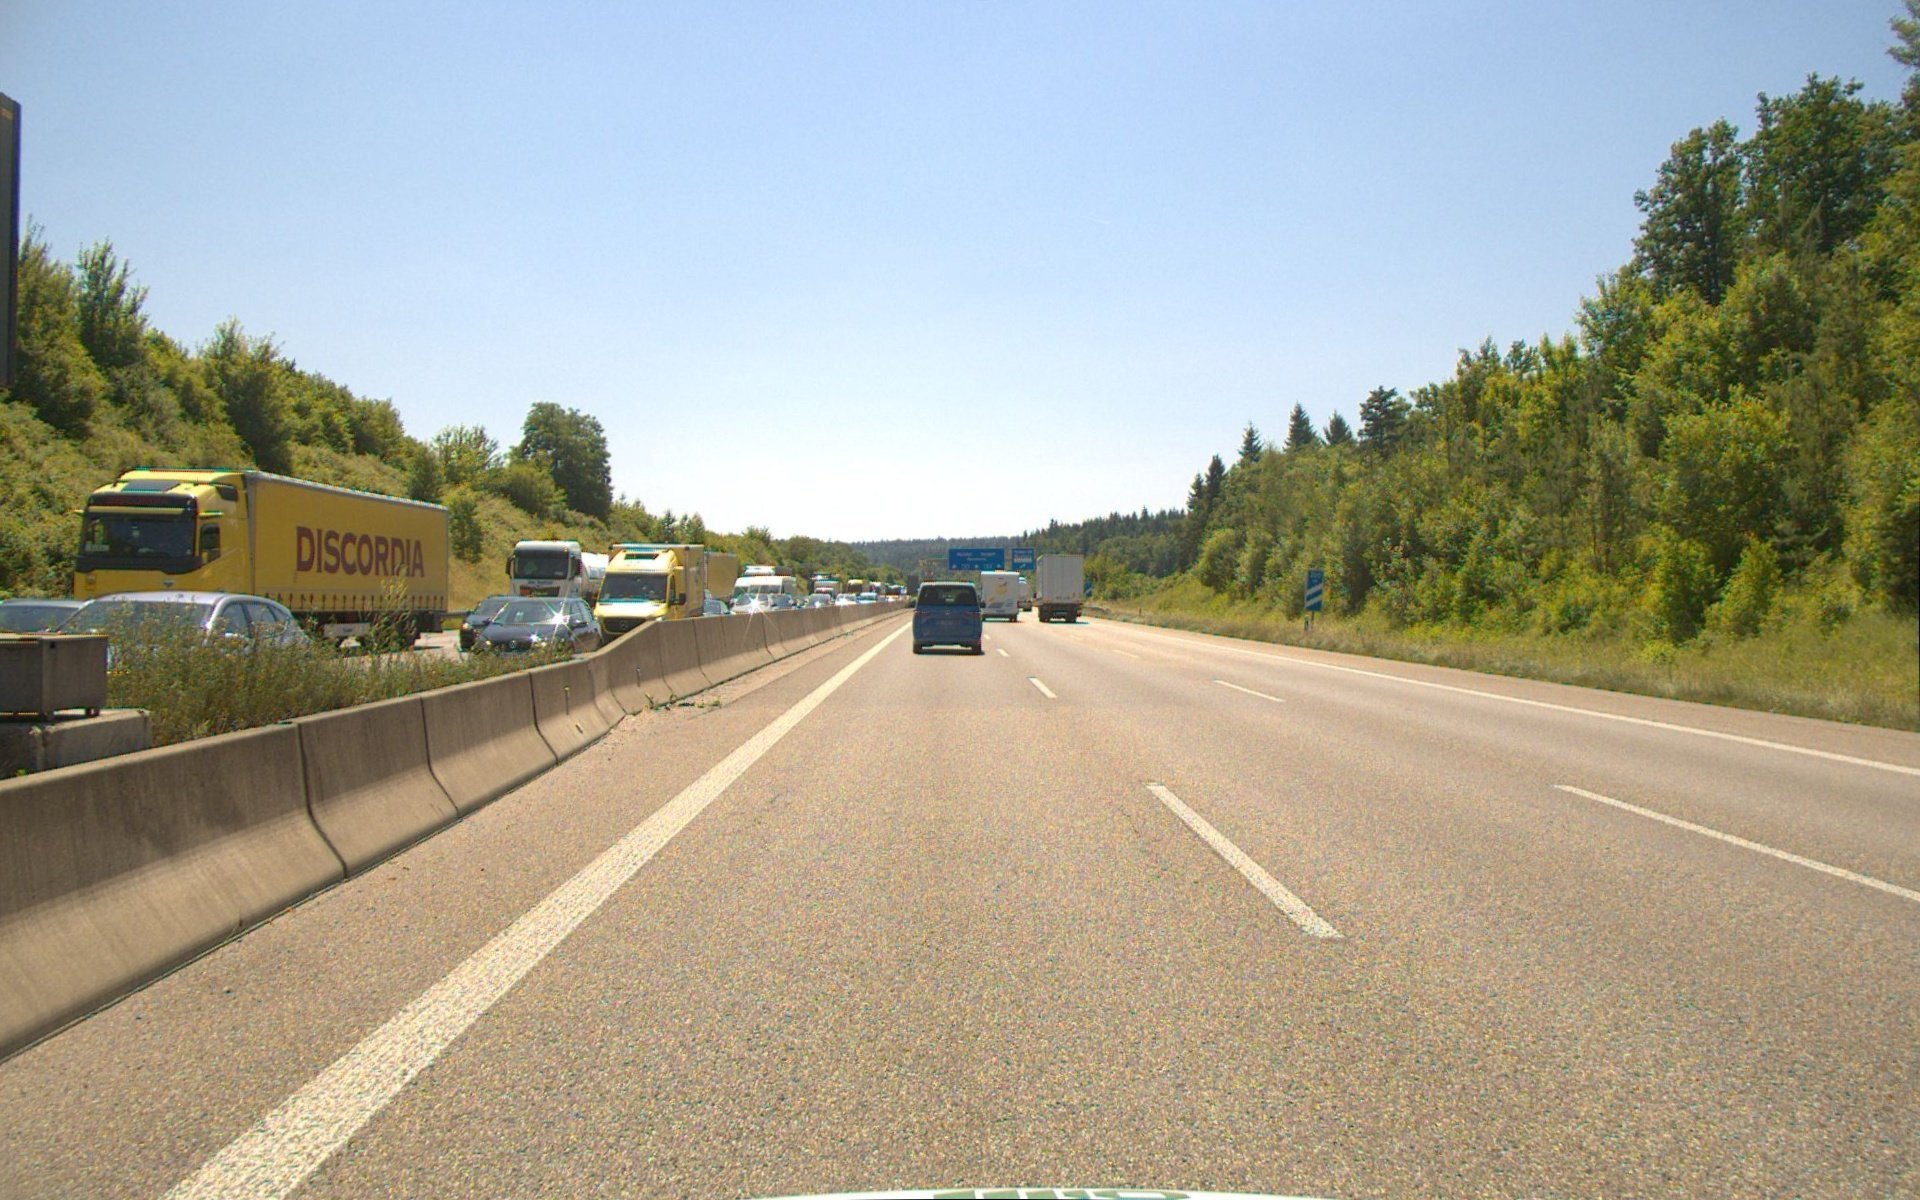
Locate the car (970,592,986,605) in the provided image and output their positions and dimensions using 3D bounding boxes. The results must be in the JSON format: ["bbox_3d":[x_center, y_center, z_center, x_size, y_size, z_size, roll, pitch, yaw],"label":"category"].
[{"bbox_3d":[2.023,-0.178,185.902,1.744,1.512,3.999,0,0,-1],"label":"car"}]

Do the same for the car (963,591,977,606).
[{"bbox_3d":[1.281,-0.175,209.979,1.740,1.803,3.999,0,0,-1],"label":"car"}]

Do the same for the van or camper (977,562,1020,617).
[{"bbox_3d":[2.388,-0.718,103.827,2.549,3.131,7.184,1,3,0],"label":"van or camper"}]

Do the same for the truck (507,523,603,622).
[{"bbox_3d":[-16.402,-1.050,67.307,2.625,3.809,5.869,1,0,-3],"label":"truck"}]

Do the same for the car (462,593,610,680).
[{"bbox_3d":[-8.019,0.661,31.702,1.791,1.523,4.756,1,0,-3],"label":"car"}]

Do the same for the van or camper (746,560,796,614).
[{"bbox_3d":[-10.417,-0.666,91.639,2.206,2.824,7.213,1,0,-3],"label":"van or camper"}]

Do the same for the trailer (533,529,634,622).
[{"bbox_3d":[-16.628,-1.072,73.804,2.558,3.798,10.676,1,0,-3],"label":"trailer"}]

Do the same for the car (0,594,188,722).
[{"bbox_3d":[-12.203,0.693,21.979,1.791,1.523,4.756,1,0,-3],"label":"car"}]

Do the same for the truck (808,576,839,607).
[{"bbox_3d":[-13.336,-0.789,162.058,2.516,2.895,6.750,1,0,-1],"label":"truck"}]

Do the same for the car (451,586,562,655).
[{"bbox_3d":[-12.538,0.562,46.042,1.791,1.795,4.989,1,0,-1],"label":"car"}]

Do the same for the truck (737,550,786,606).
[{"bbox_3d":[-16.880,-1.824,141.193,2.881,4.595,8.605,1,0,1],"label":"truck"}]

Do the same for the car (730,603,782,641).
[{"bbox_3d":[-8.520,0.906,69.371,1.791,1.523,4.756,1,0,-3],"label":"car"}]

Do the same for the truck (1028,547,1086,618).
[{"bbox_3d":[6.019,-1.006,104.042,2.727,4.201,9.736,1,0,-2],"label":"truck"}]

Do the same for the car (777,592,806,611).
[{"bbox_3d":[-13.262,0.093,130.544,1.790,1.519,4.990,0,0,-1],"label":"car"}]

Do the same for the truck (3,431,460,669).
[{"bbox_3d":[-16.610,-0.902,40.455,3.621,4.534,17.377,1,0,-1],"label":"truck"}]

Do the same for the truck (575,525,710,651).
[{"bbox_3d":[-8.343,-0.278,44.166,2.221,3.069,6.777,1,0,0],"label":"truck"}]

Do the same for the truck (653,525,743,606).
[{"bbox_3d":[-16.109,-1.939,103.155,3.622,4.534,16.666,1,0,-2],"label":"truck"}]

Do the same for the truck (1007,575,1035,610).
[{"bbox_3d":[6.576,-0.841,179.146,2.867,3.637,8.527,-1,1,1],"label":"truck"}]

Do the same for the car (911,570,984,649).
[{"bbox_3d":[-0.359,0.249,45.235,1.870,2.049,3.999,1,0,-1],"label":"car"}]

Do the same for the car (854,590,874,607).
[{"bbox_3d":[-9.356,-0.175,161.931,1.791,1.592,5.109,1,0,-1],"label":"car"}]

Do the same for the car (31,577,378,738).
[{"bbox_3d":[-8.070,0.570,18.225,1.791,1.523,4.756,1,0,-3],"label":"car"}]

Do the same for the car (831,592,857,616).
[{"bbox_3d":[-9.142,0.328,130.931,1.791,1.795,4.989,1,0,-1],"label":"car"}]

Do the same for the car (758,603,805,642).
[{"bbox_3d":[-8.606,1.074,80.038,1.791,1.795,4.989,1,0,-1],"label":"car"}]

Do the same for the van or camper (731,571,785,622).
[{"bbox_3d":[-12.317,-0.168,101.337,2.151,2.991,7.535,1,0,1],"label":"van or camper"}]
